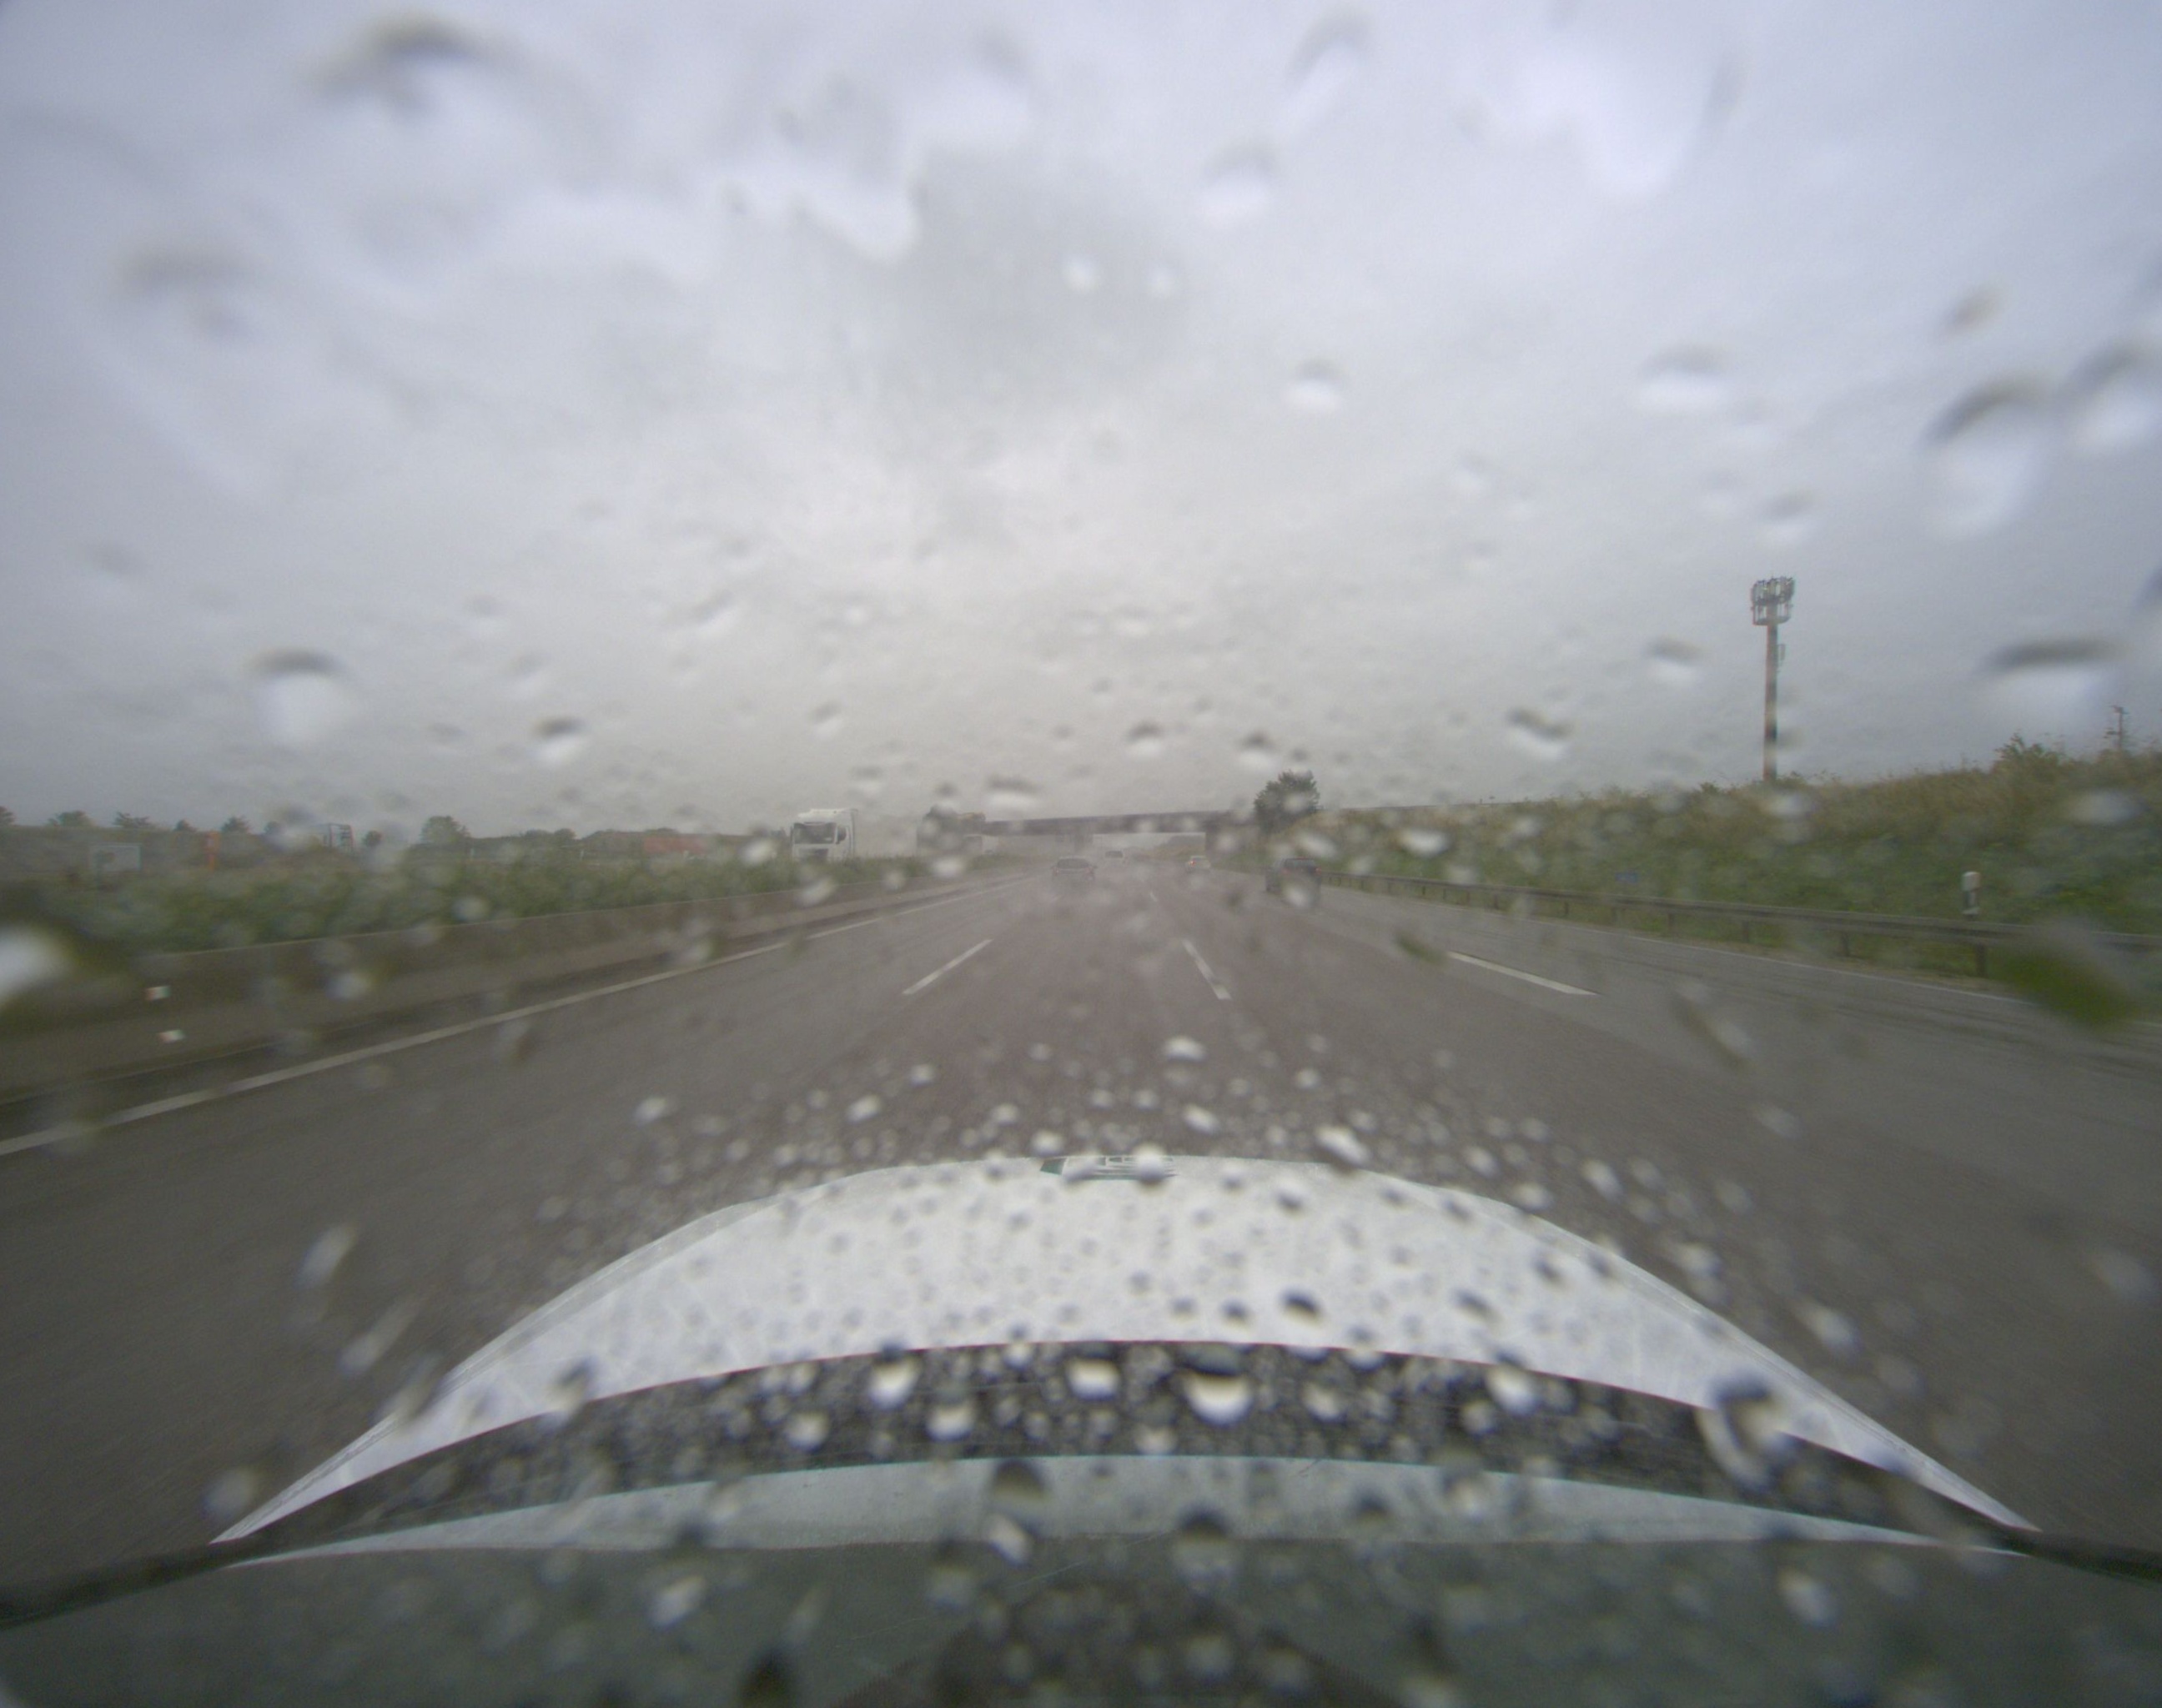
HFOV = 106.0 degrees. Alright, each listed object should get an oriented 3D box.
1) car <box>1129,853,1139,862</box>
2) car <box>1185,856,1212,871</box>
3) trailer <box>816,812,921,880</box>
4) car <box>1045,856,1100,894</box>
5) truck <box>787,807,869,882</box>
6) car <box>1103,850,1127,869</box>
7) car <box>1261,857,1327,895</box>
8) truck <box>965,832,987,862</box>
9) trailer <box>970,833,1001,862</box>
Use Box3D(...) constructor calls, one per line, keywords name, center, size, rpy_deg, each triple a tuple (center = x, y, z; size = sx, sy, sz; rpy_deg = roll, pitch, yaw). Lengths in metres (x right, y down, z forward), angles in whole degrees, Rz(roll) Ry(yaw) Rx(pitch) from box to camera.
Box3D(name="car", center=(11.945, 0.728, 184.847), size=(1.987, 2.101, 4.000), rpy_deg=(0, 0, 0))
Box3D(name="car", center=(9.694, 0.791, 67.622), size=(1.984, 1.266, 4.005), rpy_deg=(0, -1, 5))
Box3D(name="trailer", center=(-13.291, -0.451, 52.448), size=(2.806, 3.852, 12.416), rpy_deg=(0, 0, 3))
Box3D(name="car", center=(-0.301, 0.840, 35.102), size=(1.837, 1.513, 4.764), rpy_deg=(-1, 0, 6))
Box3D(name="truck", center=(-13.732, -0.504, 44.607), size=(2.748, 3.847, 4.823), rpy_deg=(0, 0, 3))
Box3D(name="car", center=(2.884, 0.475, 67.894), size=(1.889, 1.585, 4.003), rpy_deg=(0, -1, 3))
Box3D(name="car", center=(8.591, 0.848, 33.150), size=(1.726, 1.421, 3.658), rpy_deg=(0, 0, 0))
Box3D(name="truck", center=(-13.711, -0.874, 107.062), size=(1.985, 3.781, 4.817), rpy_deg=(0, 0, 3))
Box3D(name="trailer", center=(-13.360, -0.857, 114.594), size=(1.985, 3.765, 13.870), rpy_deg=(0, 0, 3))
